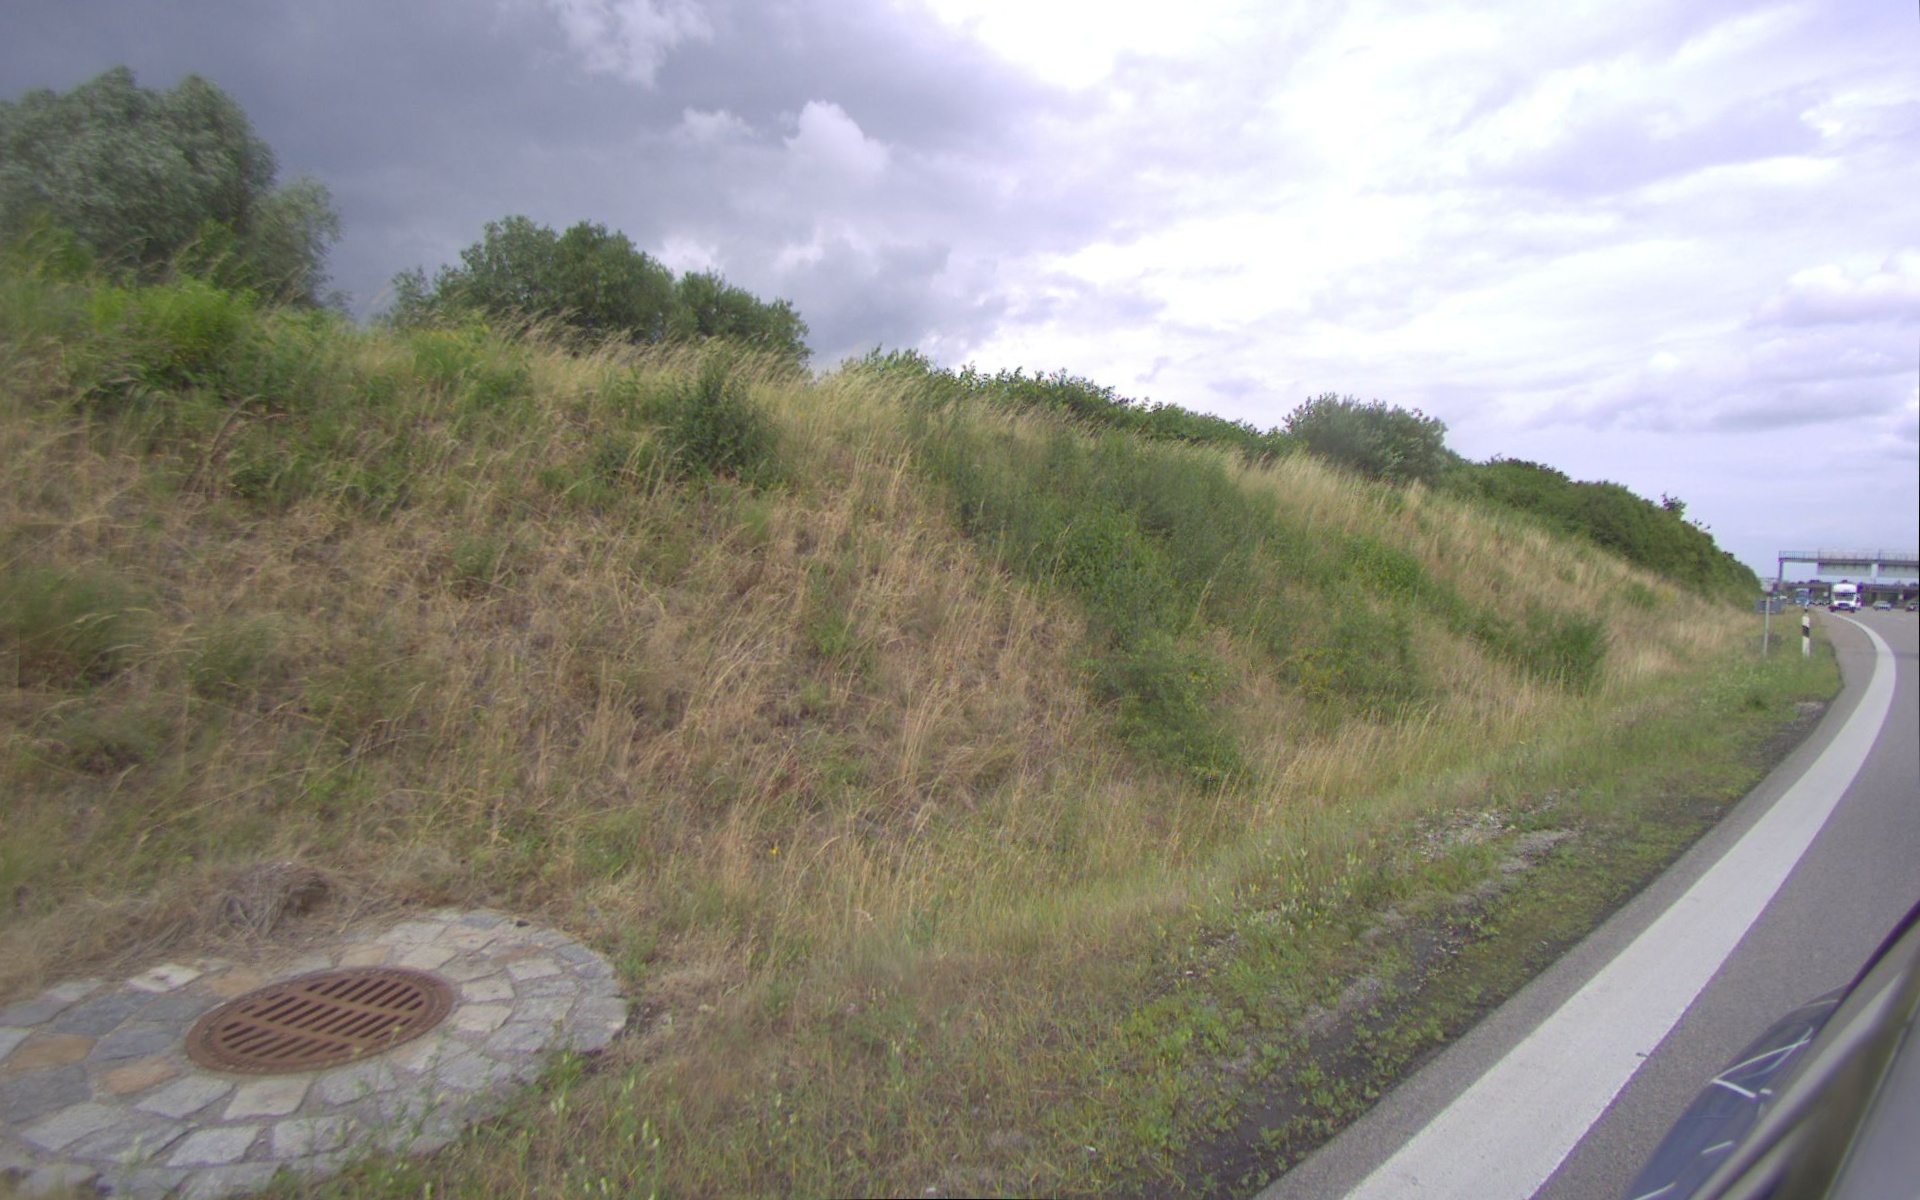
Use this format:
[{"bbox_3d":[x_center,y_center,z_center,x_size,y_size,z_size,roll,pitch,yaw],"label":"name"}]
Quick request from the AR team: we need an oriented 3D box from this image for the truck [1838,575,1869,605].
[{"bbox_3d":[100.450,-1.100,113.806,2.440,3.275,7.085,2,2,41],"label":"truck"}]

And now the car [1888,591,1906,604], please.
[{"bbox_3d":[150.231,-0.434,162.245,3.935,2.039,1.994,-1,1,-45],"label":"car"}]

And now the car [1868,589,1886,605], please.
[{"bbox_3d":[141.988,-0.471,156.636,1.993,2.425,3.938,0,1,43],"label":"car"}]
